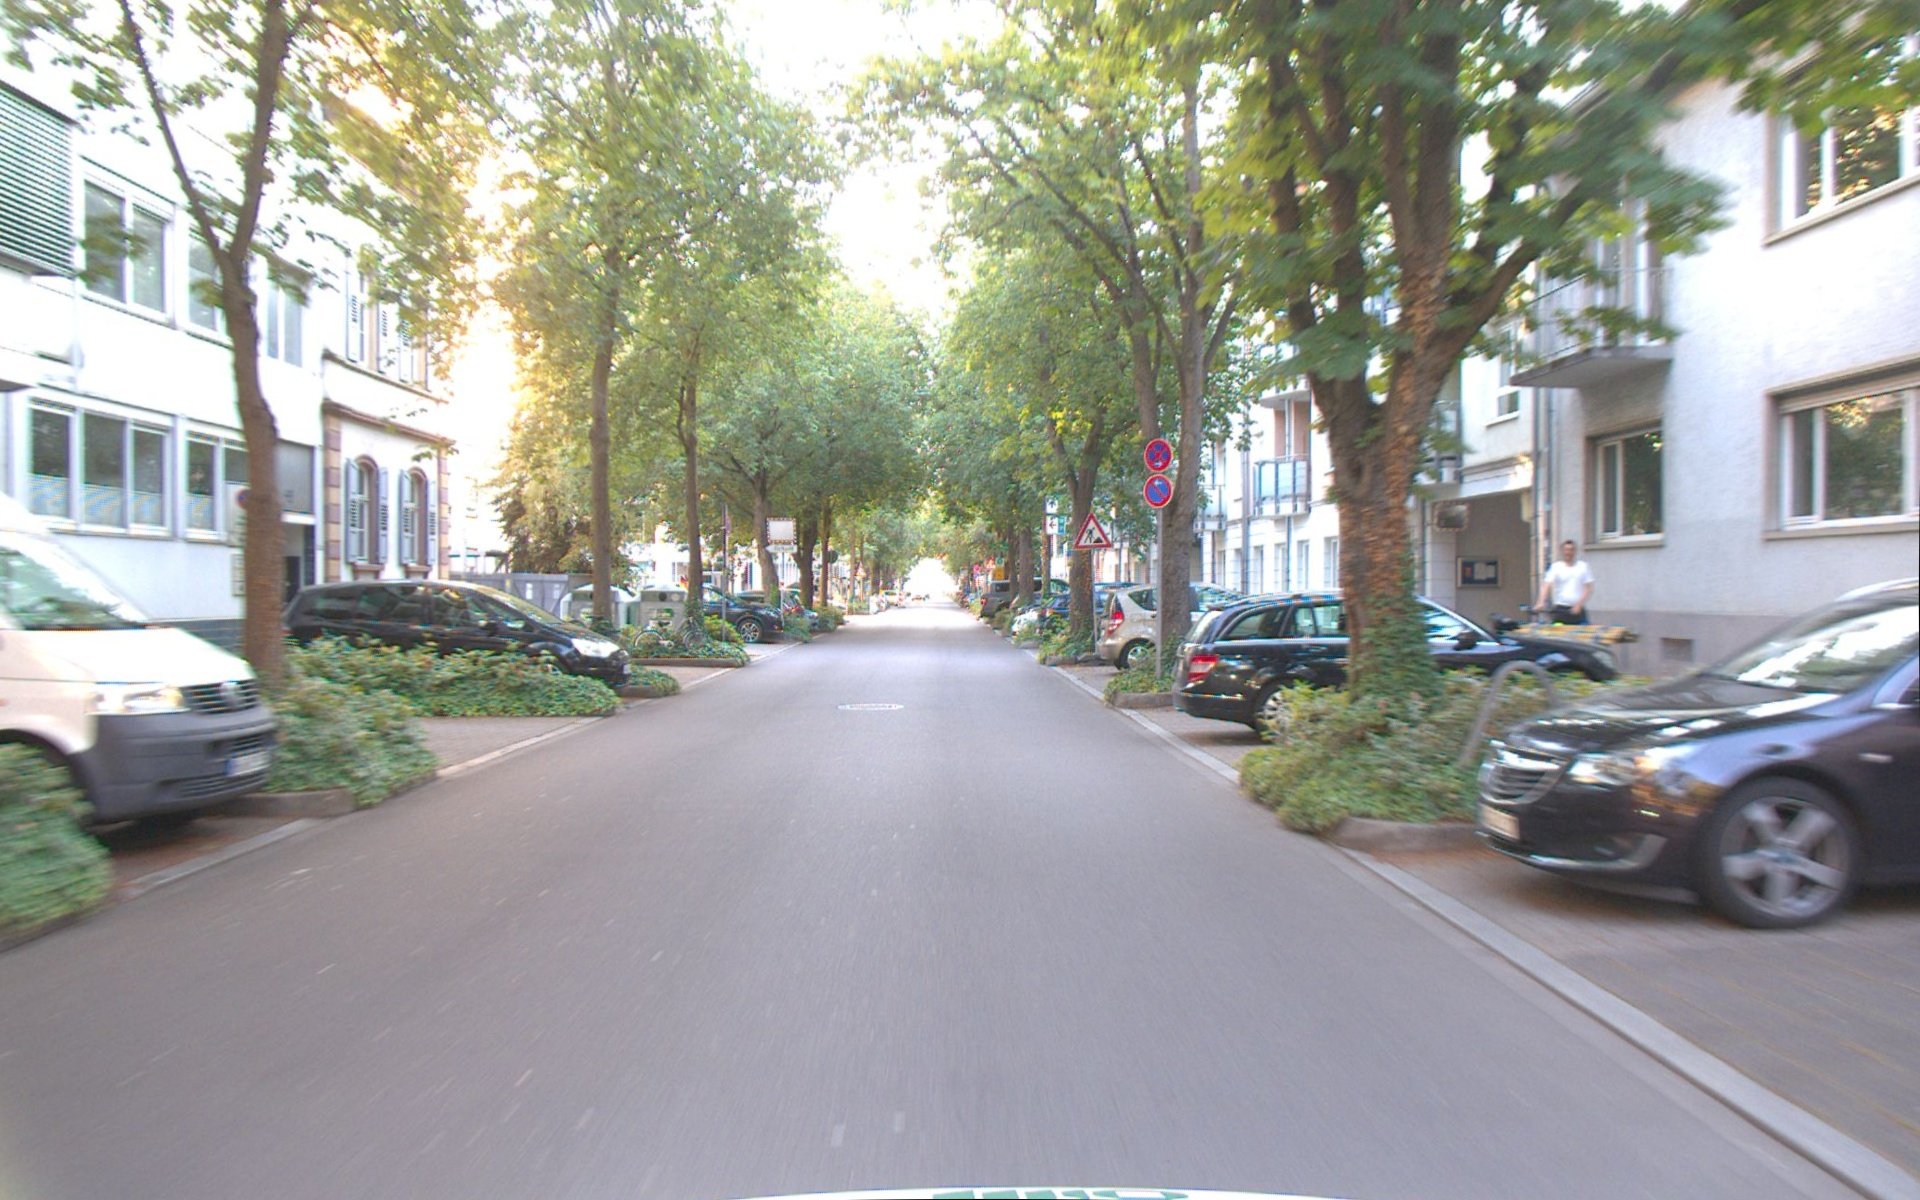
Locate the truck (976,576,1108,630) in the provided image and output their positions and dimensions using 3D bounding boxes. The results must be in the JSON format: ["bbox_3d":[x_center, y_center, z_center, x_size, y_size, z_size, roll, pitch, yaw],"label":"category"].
[{"bbox_3d":[3.593,0.124,73.343,5.767,2.351,2.212,0,0,-1],"label":"truck"}]

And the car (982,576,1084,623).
[{"bbox_3d":[3.338,-0.041,76.081,4.508,2.102,2.196,-1,0,-2],"label":"car"}]

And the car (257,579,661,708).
[{"bbox_3d":[-6.589,0.554,22.203,4.753,1.650,2.160,0,0,0],"label":"car"}]

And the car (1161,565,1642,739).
[{"bbox_3d":[4.339,0.499,16.869,4.366,1.452,2.012,-3,0,3],"label":"car"}]

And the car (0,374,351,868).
[{"bbox_3d":[-6.450,0.106,9.790,4.902,2.618,2.120,0,0,-1],"label":"car"}]

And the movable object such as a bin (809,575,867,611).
[{"bbox_3d":[-8.579,-0.489,115.762,3.969,2.425,2.780,0,0,-7],"label":"movable object such as a bin"}]

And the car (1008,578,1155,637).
[{"bbox_3d":[4.029,0.232,55.310,4.552,1.645,2.008,-4,0,-5],"label":"car"}]

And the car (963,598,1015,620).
[{"bbox_3d":[2.203,0.659,124.725,3.905,1.613,2.000,0,0,1],"label":"car"}]

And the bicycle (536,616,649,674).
[{"bbox_3d":[-5.405,0.655,24.354,1.520,0.845,0.613,0,0,2],"label":"bicycle"}]

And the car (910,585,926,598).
[{"bbox_3d":[-5.378,-1.047,210.516,1.969,1.641,4.118,0,1,-2],"label":"car"}]

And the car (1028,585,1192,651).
[{"bbox_3d":[3.969,0.464,44.111,4.005,1.476,1.932,-3,0,-7],"label":"car"}]

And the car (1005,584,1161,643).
[{"bbox_3d":[3.683,0.401,50.129,4.507,1.493,1.795,-3,0,-2],"label":"car"}]

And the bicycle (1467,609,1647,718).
[{"bbox_3d":[7.148,0.714,20.054,0.608,1.184,3.396,0,0,-6],"label":"bicycle"}]

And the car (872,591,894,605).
[{"bbox_3d":[-7.471,-0.205,160.722,1.955,1.310,3.996,0,0,-5],"label":"car"}]

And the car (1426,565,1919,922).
[{"bbox_3d":[4.857,0.541,8.030,4.582,1.412,2.000,-3,0,0],"label":"car"}]

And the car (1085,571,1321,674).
[{"bbox_3d":[4.341,0.398,29.984,3.889,1.613,1.916,-3,0,-2],"label":"car"}]

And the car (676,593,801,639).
[{"bbox_3d":[-7.252,0.511,54.376,3.907,1.489,1.921,0,0,-3],"label":"car"}]

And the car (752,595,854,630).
[{"bbox_3d":[-7.364,0.583,77.928,4.523,1.579,2.076,0,0,1],"label":"car"}]

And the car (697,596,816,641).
[{"bbox_3d":[-7.283,0.661,59.423,3.903,1.593,1.930,0,0,4],"label":"car"}]

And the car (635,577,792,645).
[{"bbox_3d":[-7.261,0.320,49.155,4.414,1.989,1.999,0,0,-3],"label":"car"}]

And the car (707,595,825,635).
[{"bbox_3d":[-7.237,0.543,62.052,4.200,1.455,1.879,0,0,-1],"label":"car"}]

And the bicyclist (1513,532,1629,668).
[{"bbox_3d":[7.512,-0.003,20.385,0.951,1.632,1.135,0,0,-5],"label":"bicyclist"}]

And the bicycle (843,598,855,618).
[{"bbox_3d":[-6.786,0.497,101.266,0.670,1.173,1.978,0,0,-6],"label":"bicycle"}]
